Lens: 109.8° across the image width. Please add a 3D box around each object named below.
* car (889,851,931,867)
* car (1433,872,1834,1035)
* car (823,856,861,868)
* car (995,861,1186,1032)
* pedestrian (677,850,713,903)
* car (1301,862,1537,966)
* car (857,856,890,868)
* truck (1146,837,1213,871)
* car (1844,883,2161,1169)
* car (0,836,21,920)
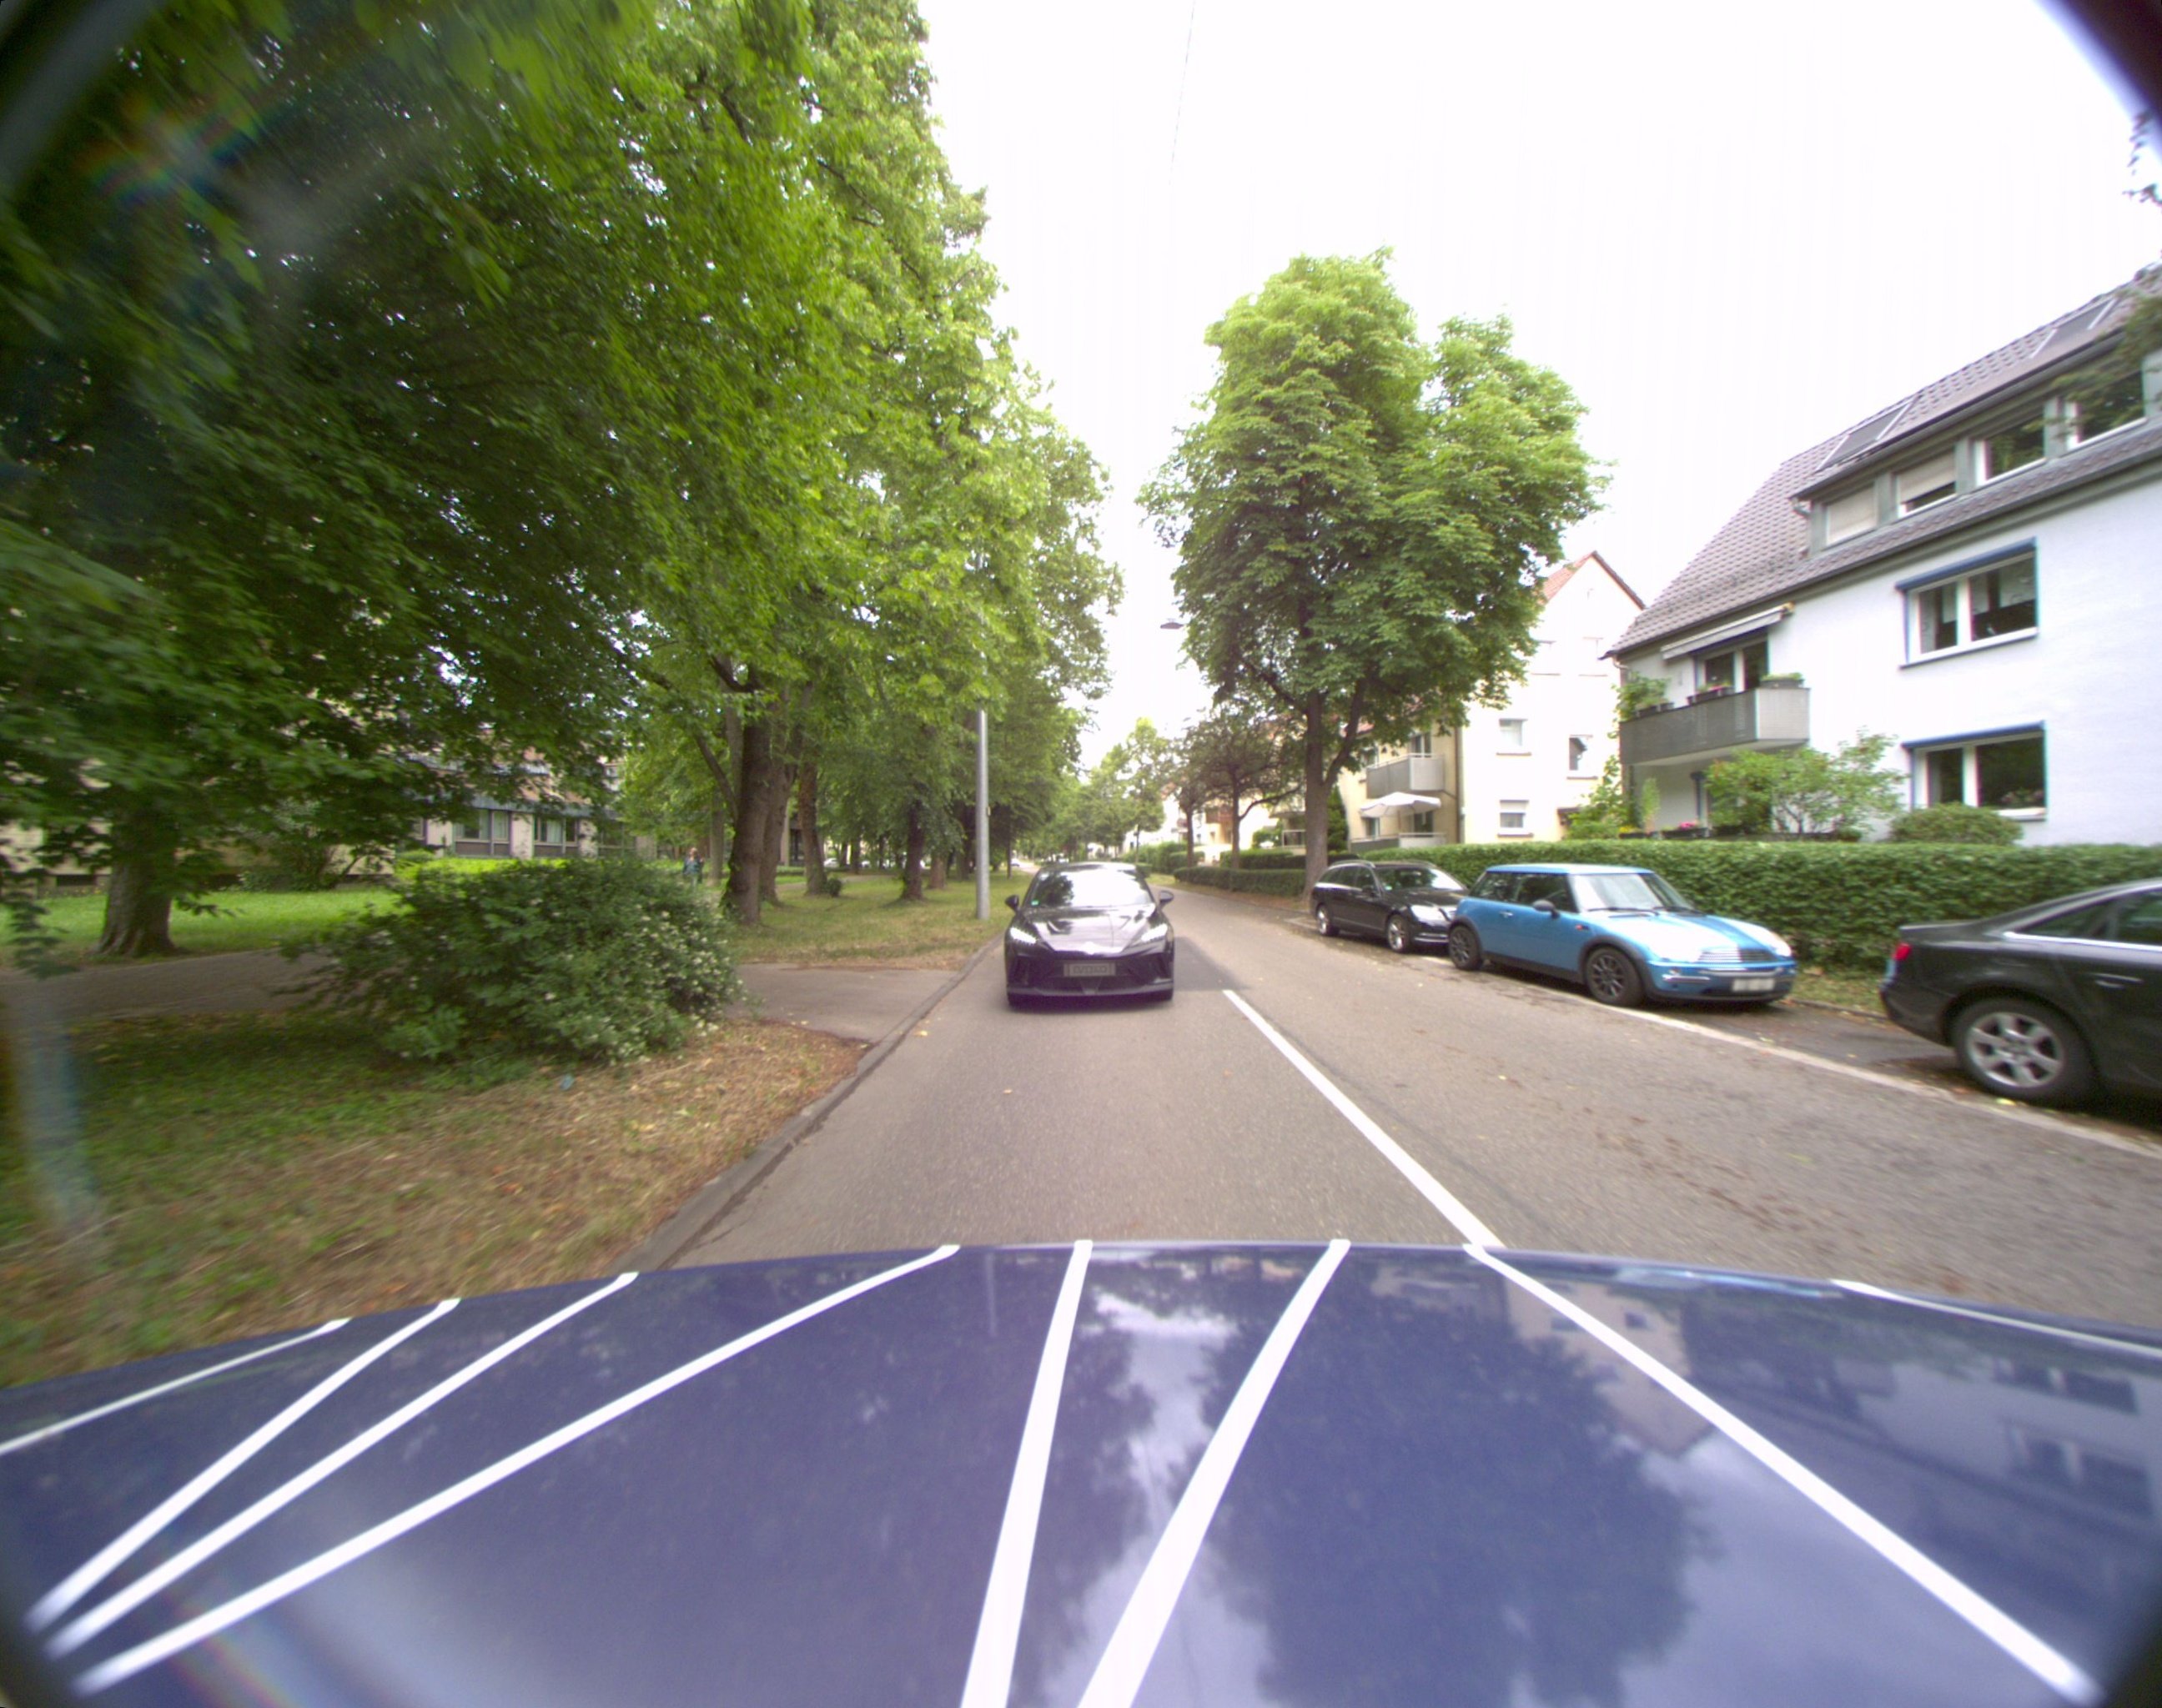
[{"bbox_3d":[-24.334,0.731,108.213,5.337,2.285,2.286,0,-1,-39],"label":"car"},{"bbox_3d":[5.872,0.939,8.714,1.669,1.383,3.704,0,0,-6],"label":"car"},{"bbox_3d":[-31.608,1.077,100.512,1.795,1.501,4.614,-1,-1,39],"label":"car"},{"bbox_3d":[0.085,0.909,9.549,1.799,1.552,4.471,-1,0,0],"label":"car"},{"bbox_3d":[-12.445,0.711,24.515,0.770,1.676,0.814,1,0,-5],"label":"pedestrian"},{"bbox_3d":[5.586,0.900,13.296,1.800,1.463,4.415,0,0,-6],"label":"car"},{"bbox_3d":[-28.469,1.098,104.160,1.795,1.501,4.009,-1,-1,45],"label":"car"},{"bbox_3d":[9.244,-0.022,71.860,5.814,3.112,2.516,-1,0,-7],"label":"truck"},{"bbox_3d":[6.448,0.912,3.134,1.799,1.402,4.643,0,0,-3],"label":"car"},{"bbox_3d":[-24.784,0.465,14.449,2.090,1.831,4.970,1,-1,5],"label":"car"}]
